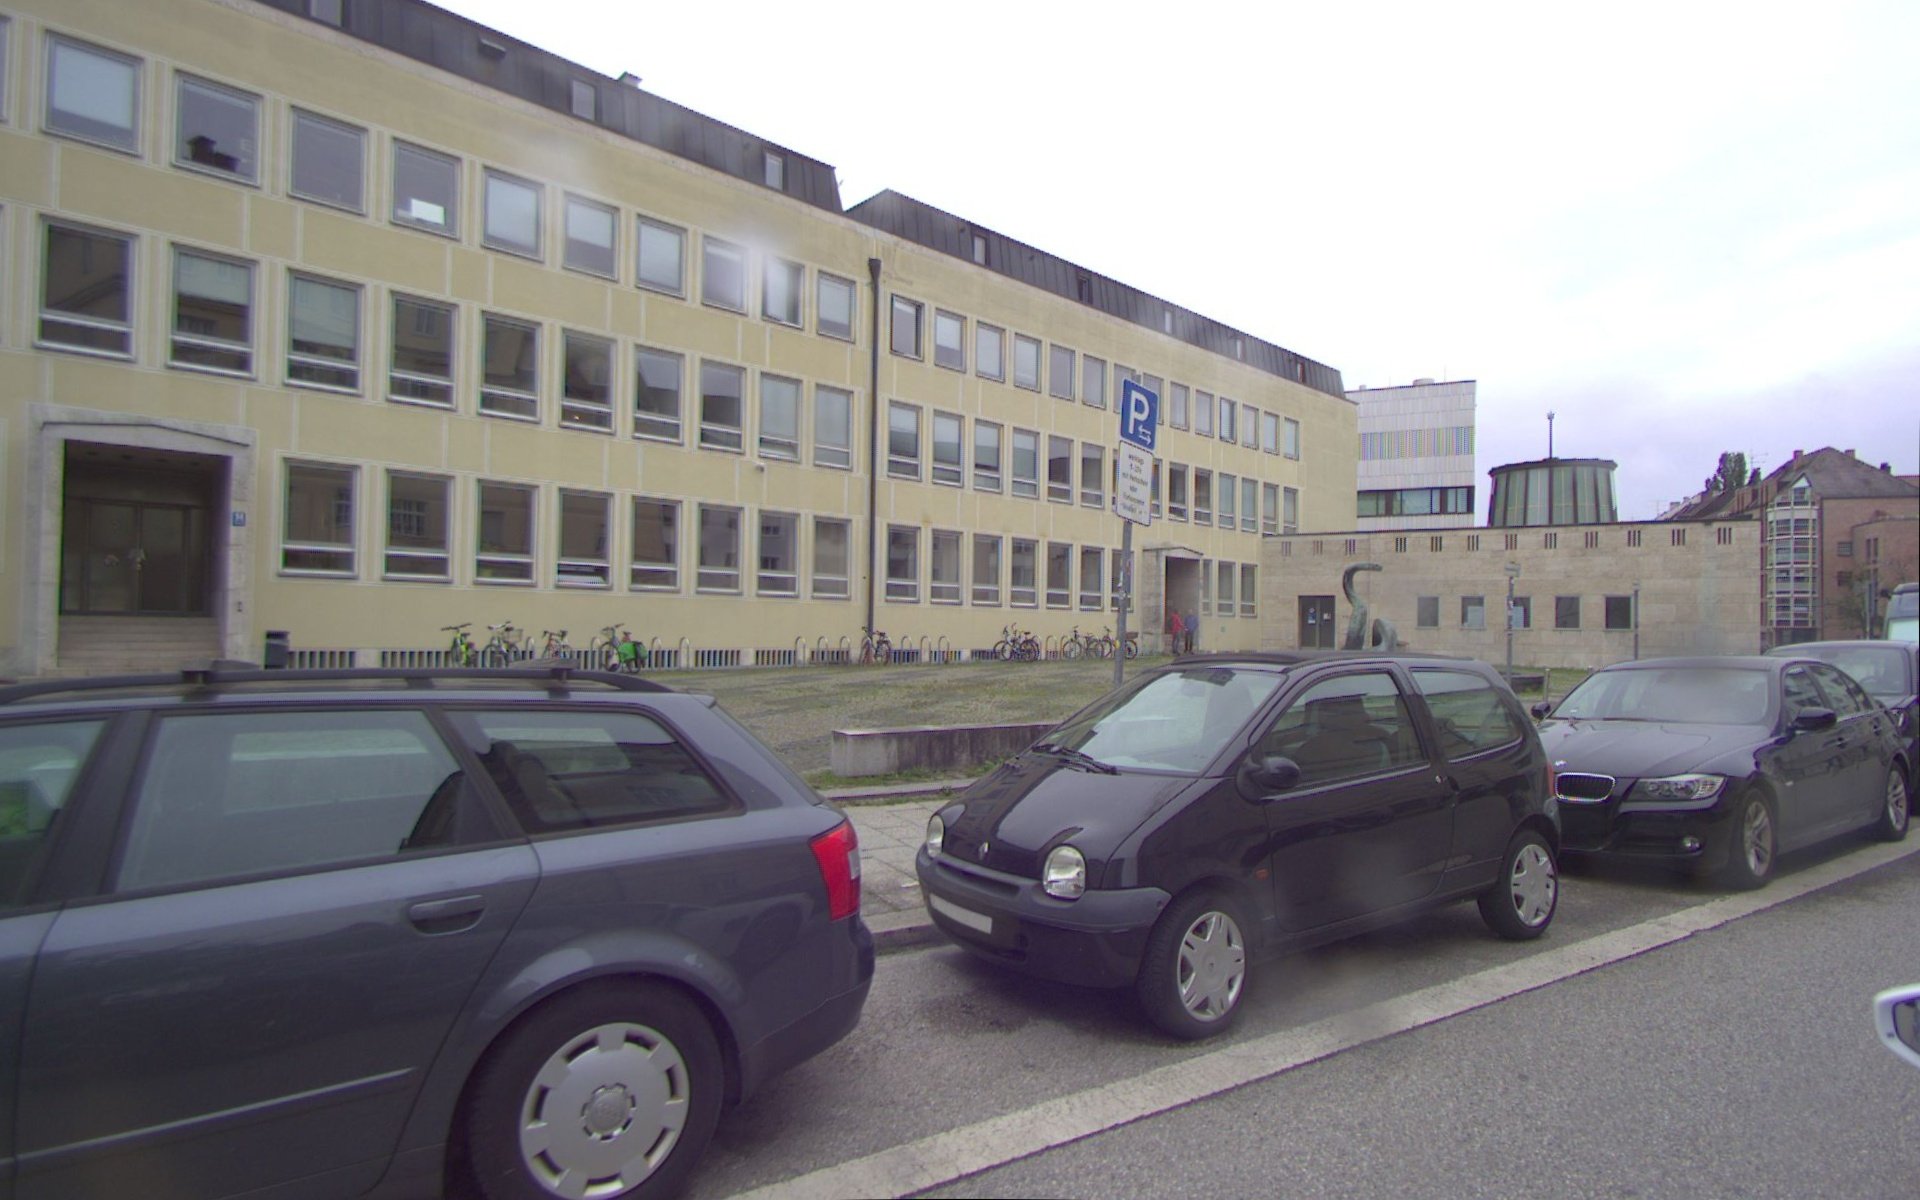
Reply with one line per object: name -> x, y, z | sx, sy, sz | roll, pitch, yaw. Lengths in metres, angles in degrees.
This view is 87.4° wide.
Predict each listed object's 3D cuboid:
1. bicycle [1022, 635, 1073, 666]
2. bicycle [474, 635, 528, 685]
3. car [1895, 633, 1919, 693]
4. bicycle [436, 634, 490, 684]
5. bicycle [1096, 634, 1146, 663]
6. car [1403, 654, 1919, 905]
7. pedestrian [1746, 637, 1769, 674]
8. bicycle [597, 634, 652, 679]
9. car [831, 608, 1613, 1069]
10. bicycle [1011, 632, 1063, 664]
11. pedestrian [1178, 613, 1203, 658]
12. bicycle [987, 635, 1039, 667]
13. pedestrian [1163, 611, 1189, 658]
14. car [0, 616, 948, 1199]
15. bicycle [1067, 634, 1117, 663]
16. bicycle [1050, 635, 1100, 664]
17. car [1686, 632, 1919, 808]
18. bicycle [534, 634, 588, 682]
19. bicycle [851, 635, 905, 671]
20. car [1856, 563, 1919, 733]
bicycle -> 2.940, 1.692, 34.016 | 0.435, 0.929, 1.882 | 2, 0, -44
bicycle -> -9.788, 1.255, 21.388 | 0.435, 0.929, 1.882 | 2, 0, -44
car -> 26.750, 1.700, 25.632 | 3.902, 1.550, 1.676 | 2, 0, 11
bicycle -> -10.326, 1.207, 20.847 | 0.435, 0.929, 1.882 | 2, 0, -44
bicycle -> 5.843, 1.749, 36.518 | 0.435, 0.929, 1.882 | 2, 0, -44
car -> 5.324, 1.111, 7.424 | 4.166, 1.381, 1.712 | 2, -4, -32
pedestrian -> 39.083, 2.696, 49.230 | 0.784, 1.763, 0.817 | 2, 0, 37
bicycle -> -7.818, 1.289, 23.355 | 0.435, 0.929, 1.882 | 2, 0, -44
car -> 1.408, 0.878, 5.031 | 3.713, 1.500, 1.712 | 2, -4, -32
bicycle -> 2.539, 1.595, 33.348 | 0.528, 0.953, 1.862 | 2, 0, -40
pedestrian -> 9.186, 1.414, 39.979 | 0.706, 1.767, 0.643 | 2, 0, 43
bicycle -> 1.716, 1.649, 32.740 | 0.435, 0.929, 1.882 | 2, 0, -44
pedestrian -> 8.436, 1.339, 39.226 | 0.706, 1.767, 0.643 | 2, 0, 43
car -> -2.239, 0.820, 2.650 | 4.158, 1.500, 1.712 | 2, -4, -32
bicycle -> 4.658, 1.700, 35.512 | 0.435, 0.929, 1.882 | 2, 0, -44
bicycle -> 4.011, 1.717, 35.103 | 0.435, 0.929, 1.882 | 2, 0, -44
car -> 8.782, 1.107, 9.939 | 2.838, 1.478, 1.657 | 2, -5, -33
bicycle -> -8.887, 1.273, 22.330 | 0.435, 0.929, 1.882 | 2, 0, -44
bicycle -> -2.397, 1.526, 29.221 | 0.435, 0.929, 1.882 | 2, 0, -44
car -> 17.299, 0.821, 17.318 | 6.167, 2.607, 2.124 | 2, -4, -43
